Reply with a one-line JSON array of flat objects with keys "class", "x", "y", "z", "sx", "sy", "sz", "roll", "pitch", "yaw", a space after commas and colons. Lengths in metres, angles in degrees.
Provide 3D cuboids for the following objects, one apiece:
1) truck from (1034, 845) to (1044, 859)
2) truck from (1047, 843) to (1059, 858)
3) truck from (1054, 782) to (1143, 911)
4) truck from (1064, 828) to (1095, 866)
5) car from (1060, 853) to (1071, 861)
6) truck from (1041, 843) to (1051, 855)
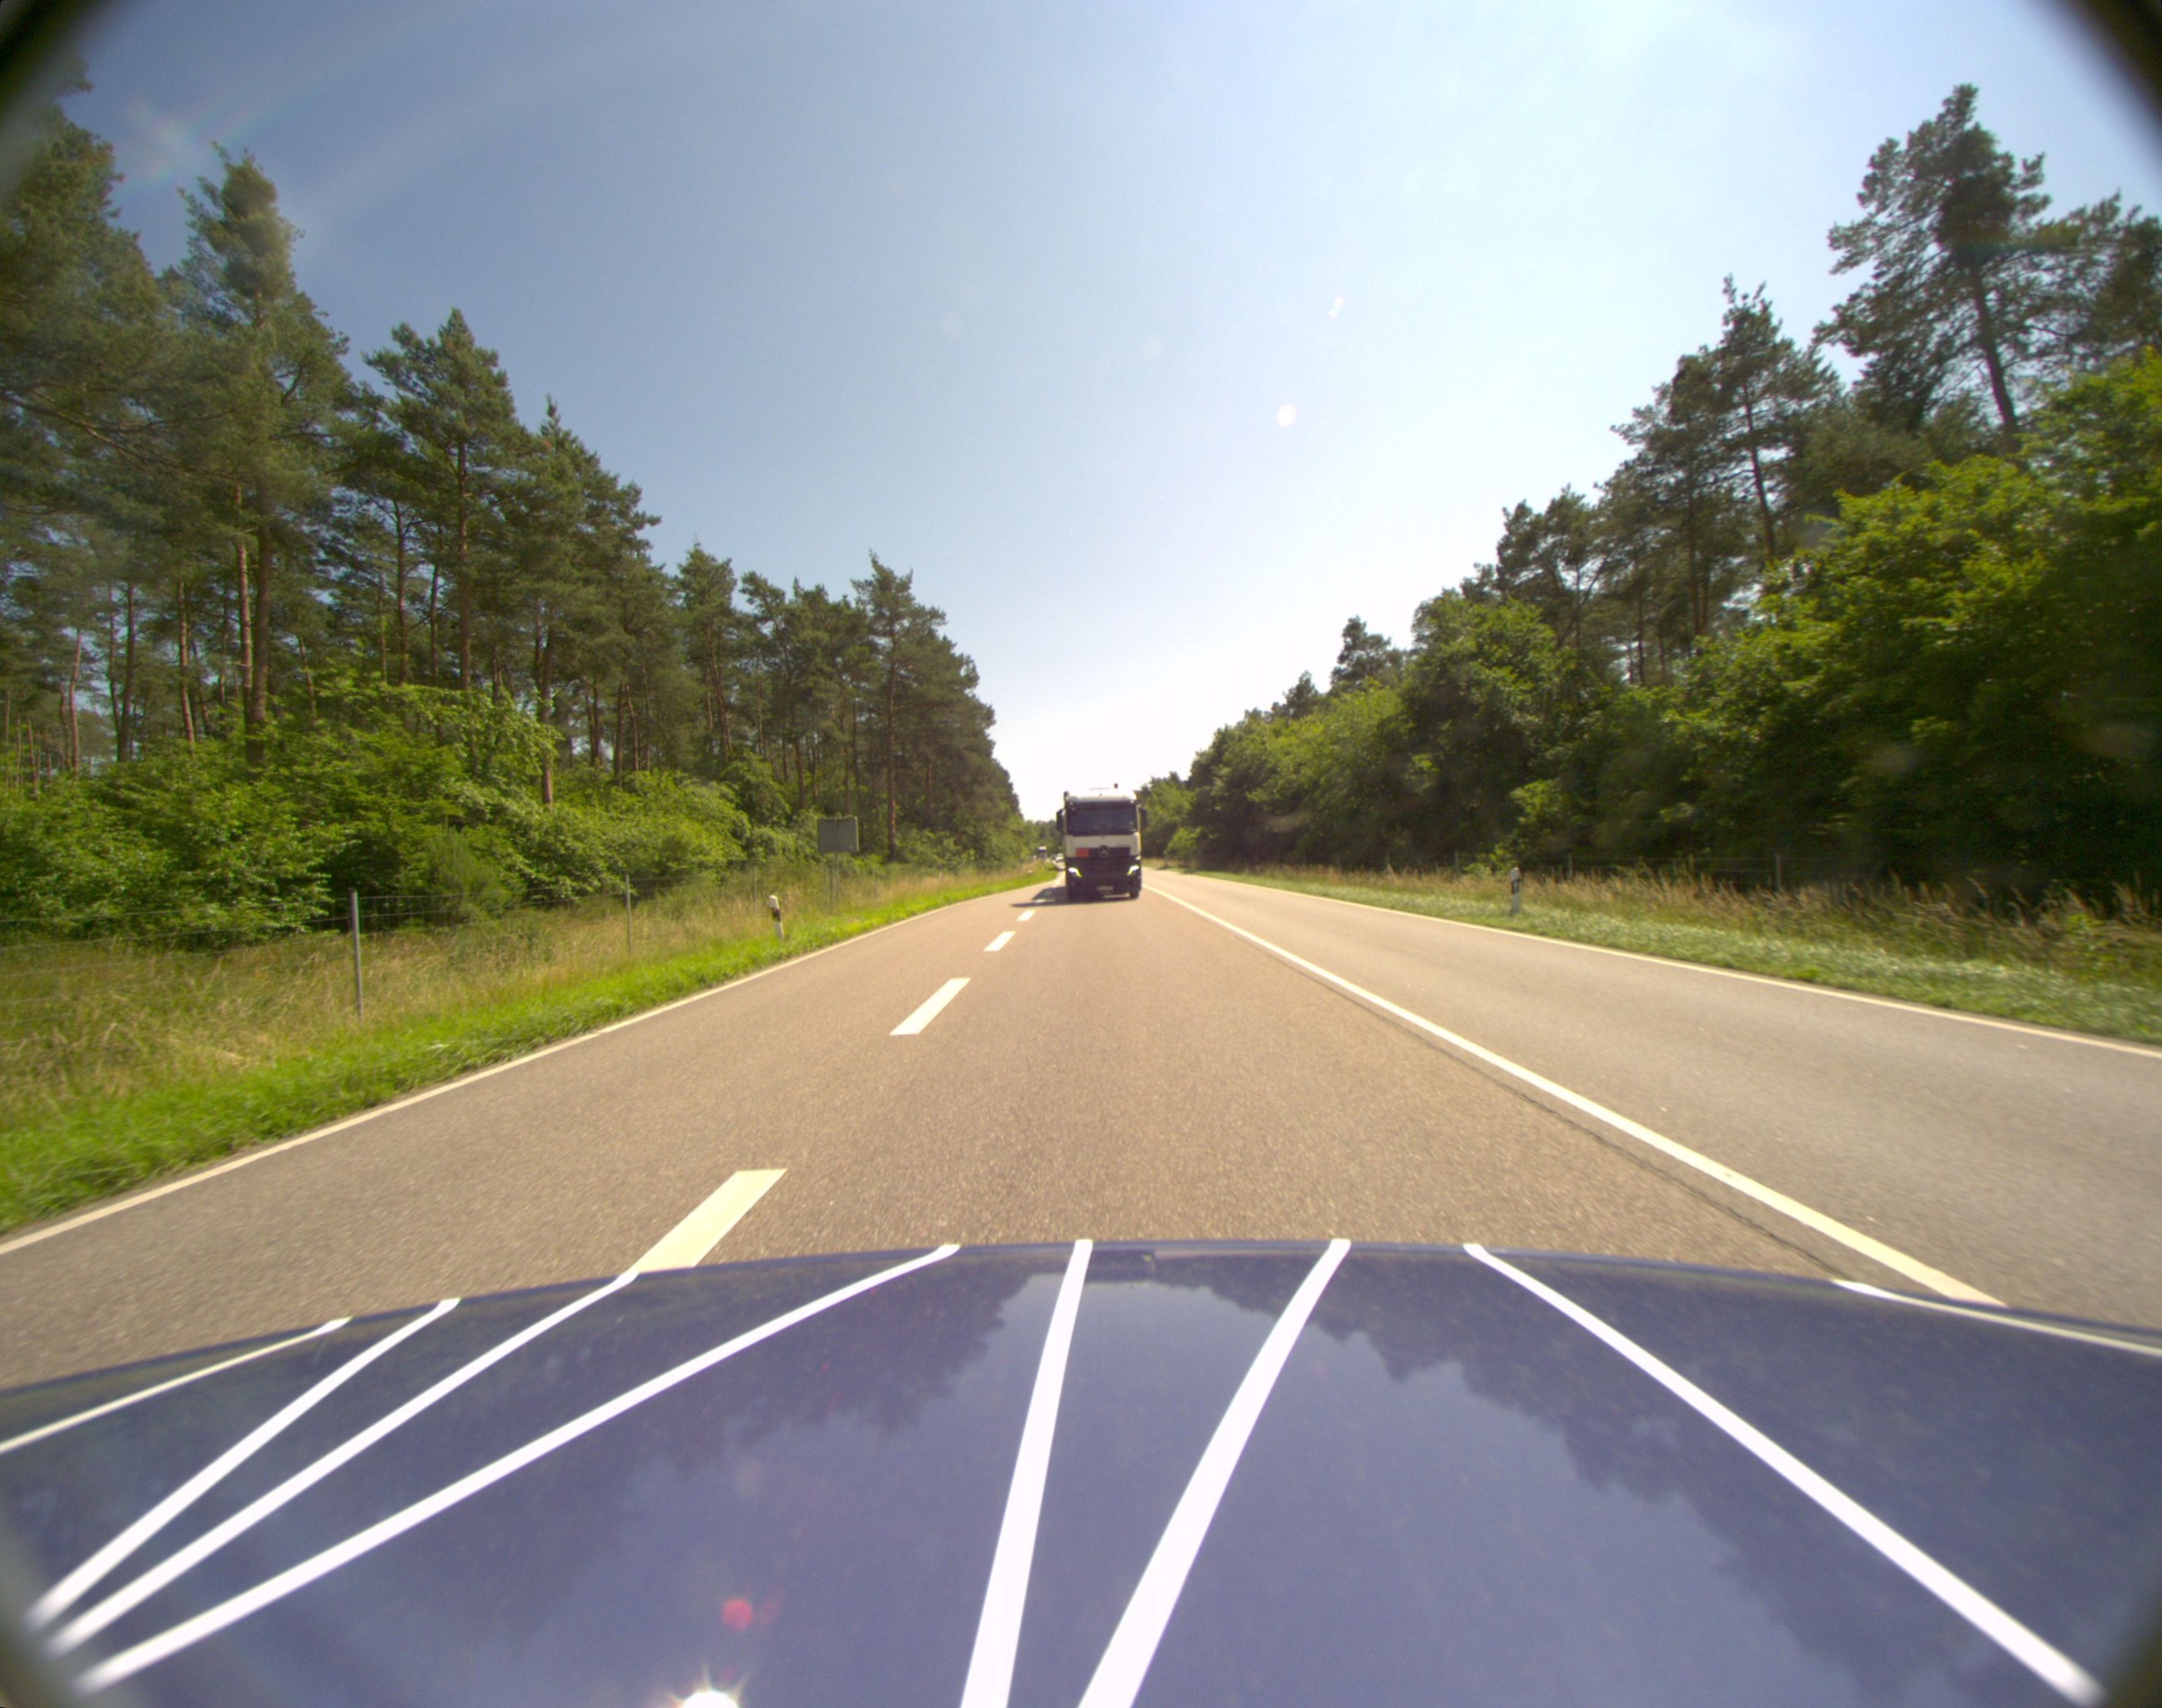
[{"class": "truck", "x": -11.949, "y": -0.586, "z": 215.187, "sx": 2.495, "sy": 3.619, "sz": 6.100, "roll": -2, "pitch": 0, "yaw": -6}, {"class": "truck", "x": -7.012, "y": -0.930, "z": 192.168, "sx": 2.495, "sy": 3.619, "sz": 6.100, "roll": -2, "pitch": 0, "yaw": -6}, {"class": "truck", "x": 0.467, "y": -0.226, "z": 25.684, "sx": 2.435, "sy": 3.672, "sz": 6.456, "roll": -3, "pitch": 0, "yaw": -1}, {"class": "truck", "x": -0.195, "y": -0.671, "z": 75.983, "sx": 2.495, "sy": 3.698, "sz": 6.221, "roll": 0, "pitch": 0, "yaw": -6}, {"class": "car", "x": -2.840, "y": 0.483, "z": 142.059, "sx": 1.885, "sy": 1.462, "sz": 3.998, "roll": -2, "pitch": 0, "yaw": -4}, {"class": "truck", "x": -10.983, "y": -1.504, "z": 236.480, "sx": 2.495, "sy": 3.619, "sz": 6.100, "roll": -2, "pitch": 1, "yaw": -6}]
